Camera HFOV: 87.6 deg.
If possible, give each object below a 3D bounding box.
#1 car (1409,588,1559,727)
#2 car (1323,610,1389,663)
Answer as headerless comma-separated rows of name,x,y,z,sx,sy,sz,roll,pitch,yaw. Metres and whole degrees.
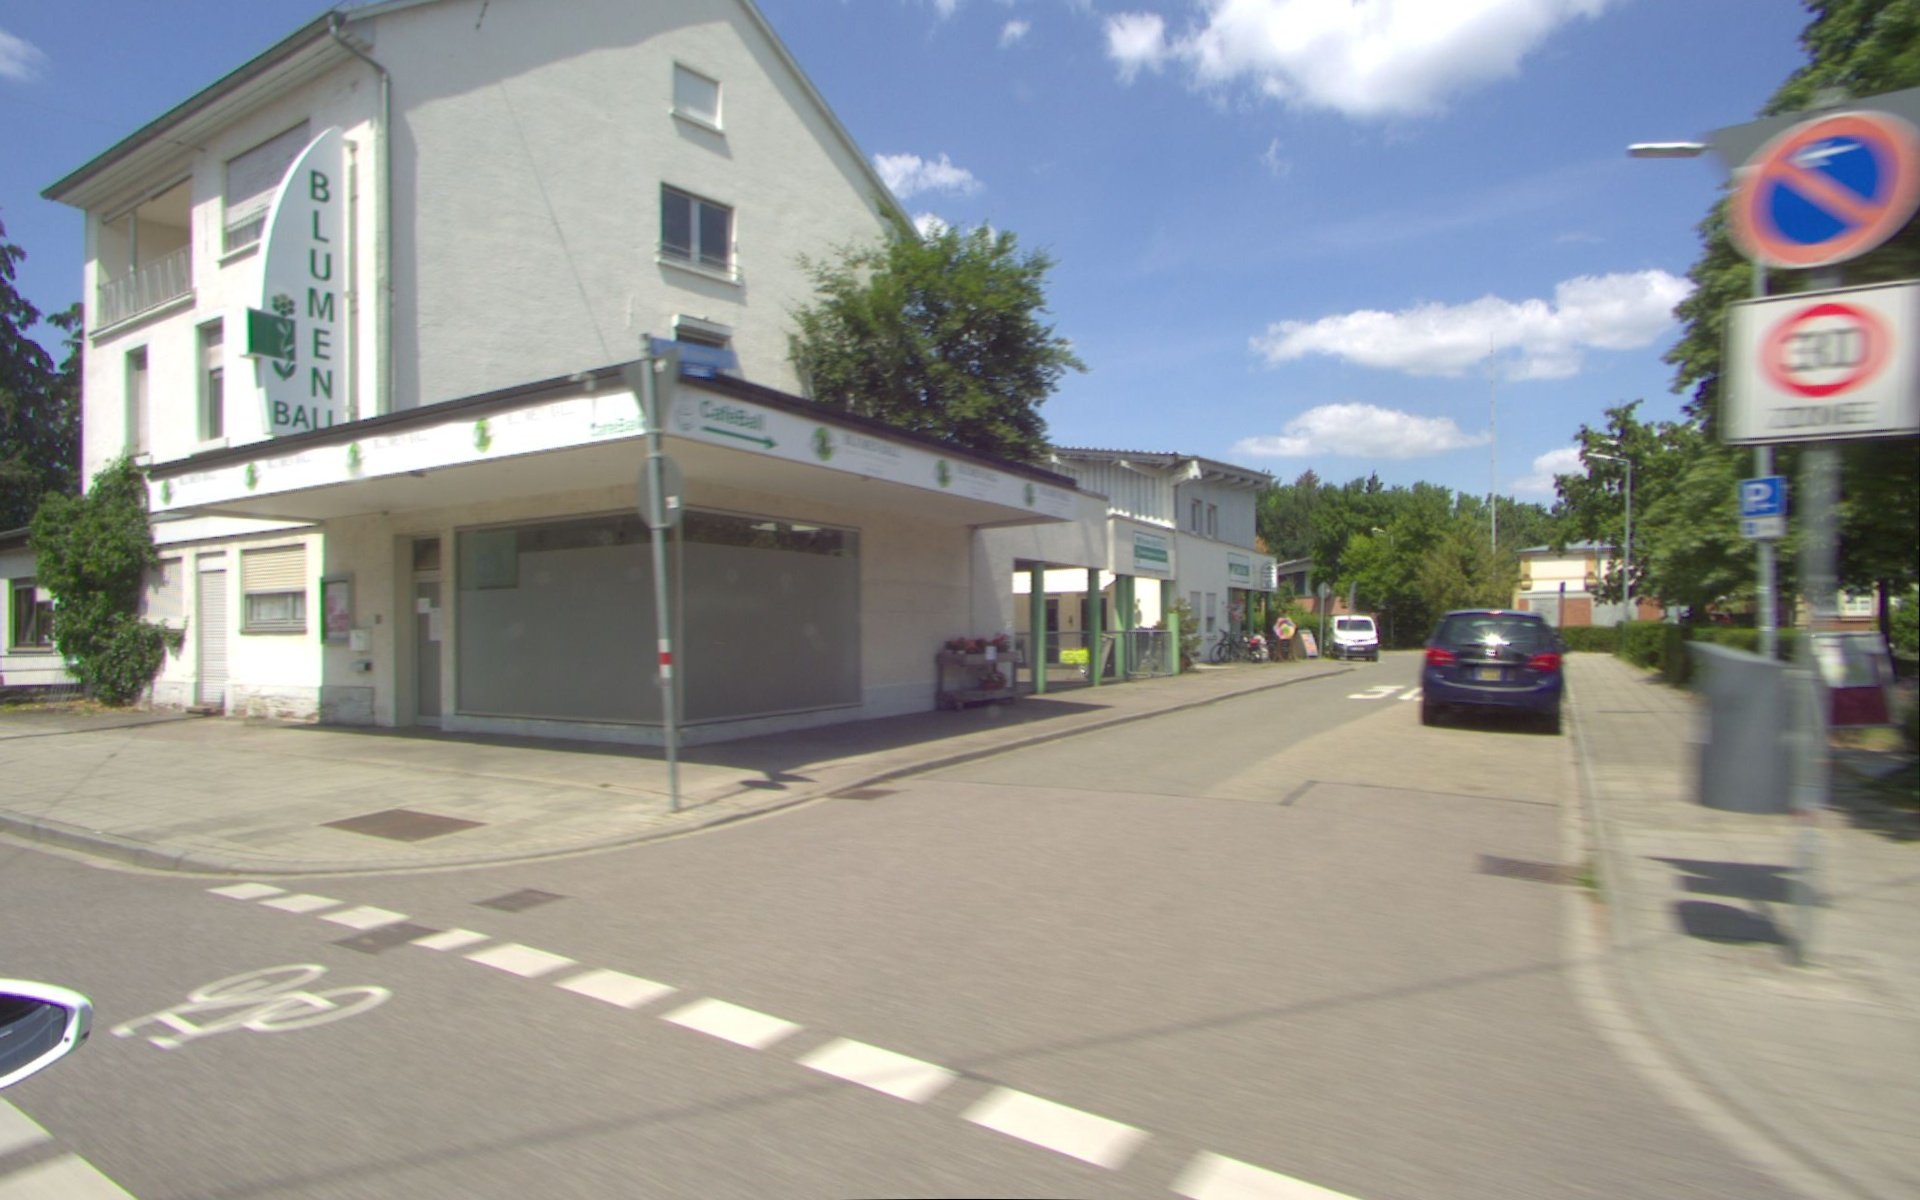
car,7.660,0.795,14.533,1.650,1.722,3.789,-3,-2,30
car,16.196,1.471,40.866,1.970,2.039,3.983,-1,-1,29
